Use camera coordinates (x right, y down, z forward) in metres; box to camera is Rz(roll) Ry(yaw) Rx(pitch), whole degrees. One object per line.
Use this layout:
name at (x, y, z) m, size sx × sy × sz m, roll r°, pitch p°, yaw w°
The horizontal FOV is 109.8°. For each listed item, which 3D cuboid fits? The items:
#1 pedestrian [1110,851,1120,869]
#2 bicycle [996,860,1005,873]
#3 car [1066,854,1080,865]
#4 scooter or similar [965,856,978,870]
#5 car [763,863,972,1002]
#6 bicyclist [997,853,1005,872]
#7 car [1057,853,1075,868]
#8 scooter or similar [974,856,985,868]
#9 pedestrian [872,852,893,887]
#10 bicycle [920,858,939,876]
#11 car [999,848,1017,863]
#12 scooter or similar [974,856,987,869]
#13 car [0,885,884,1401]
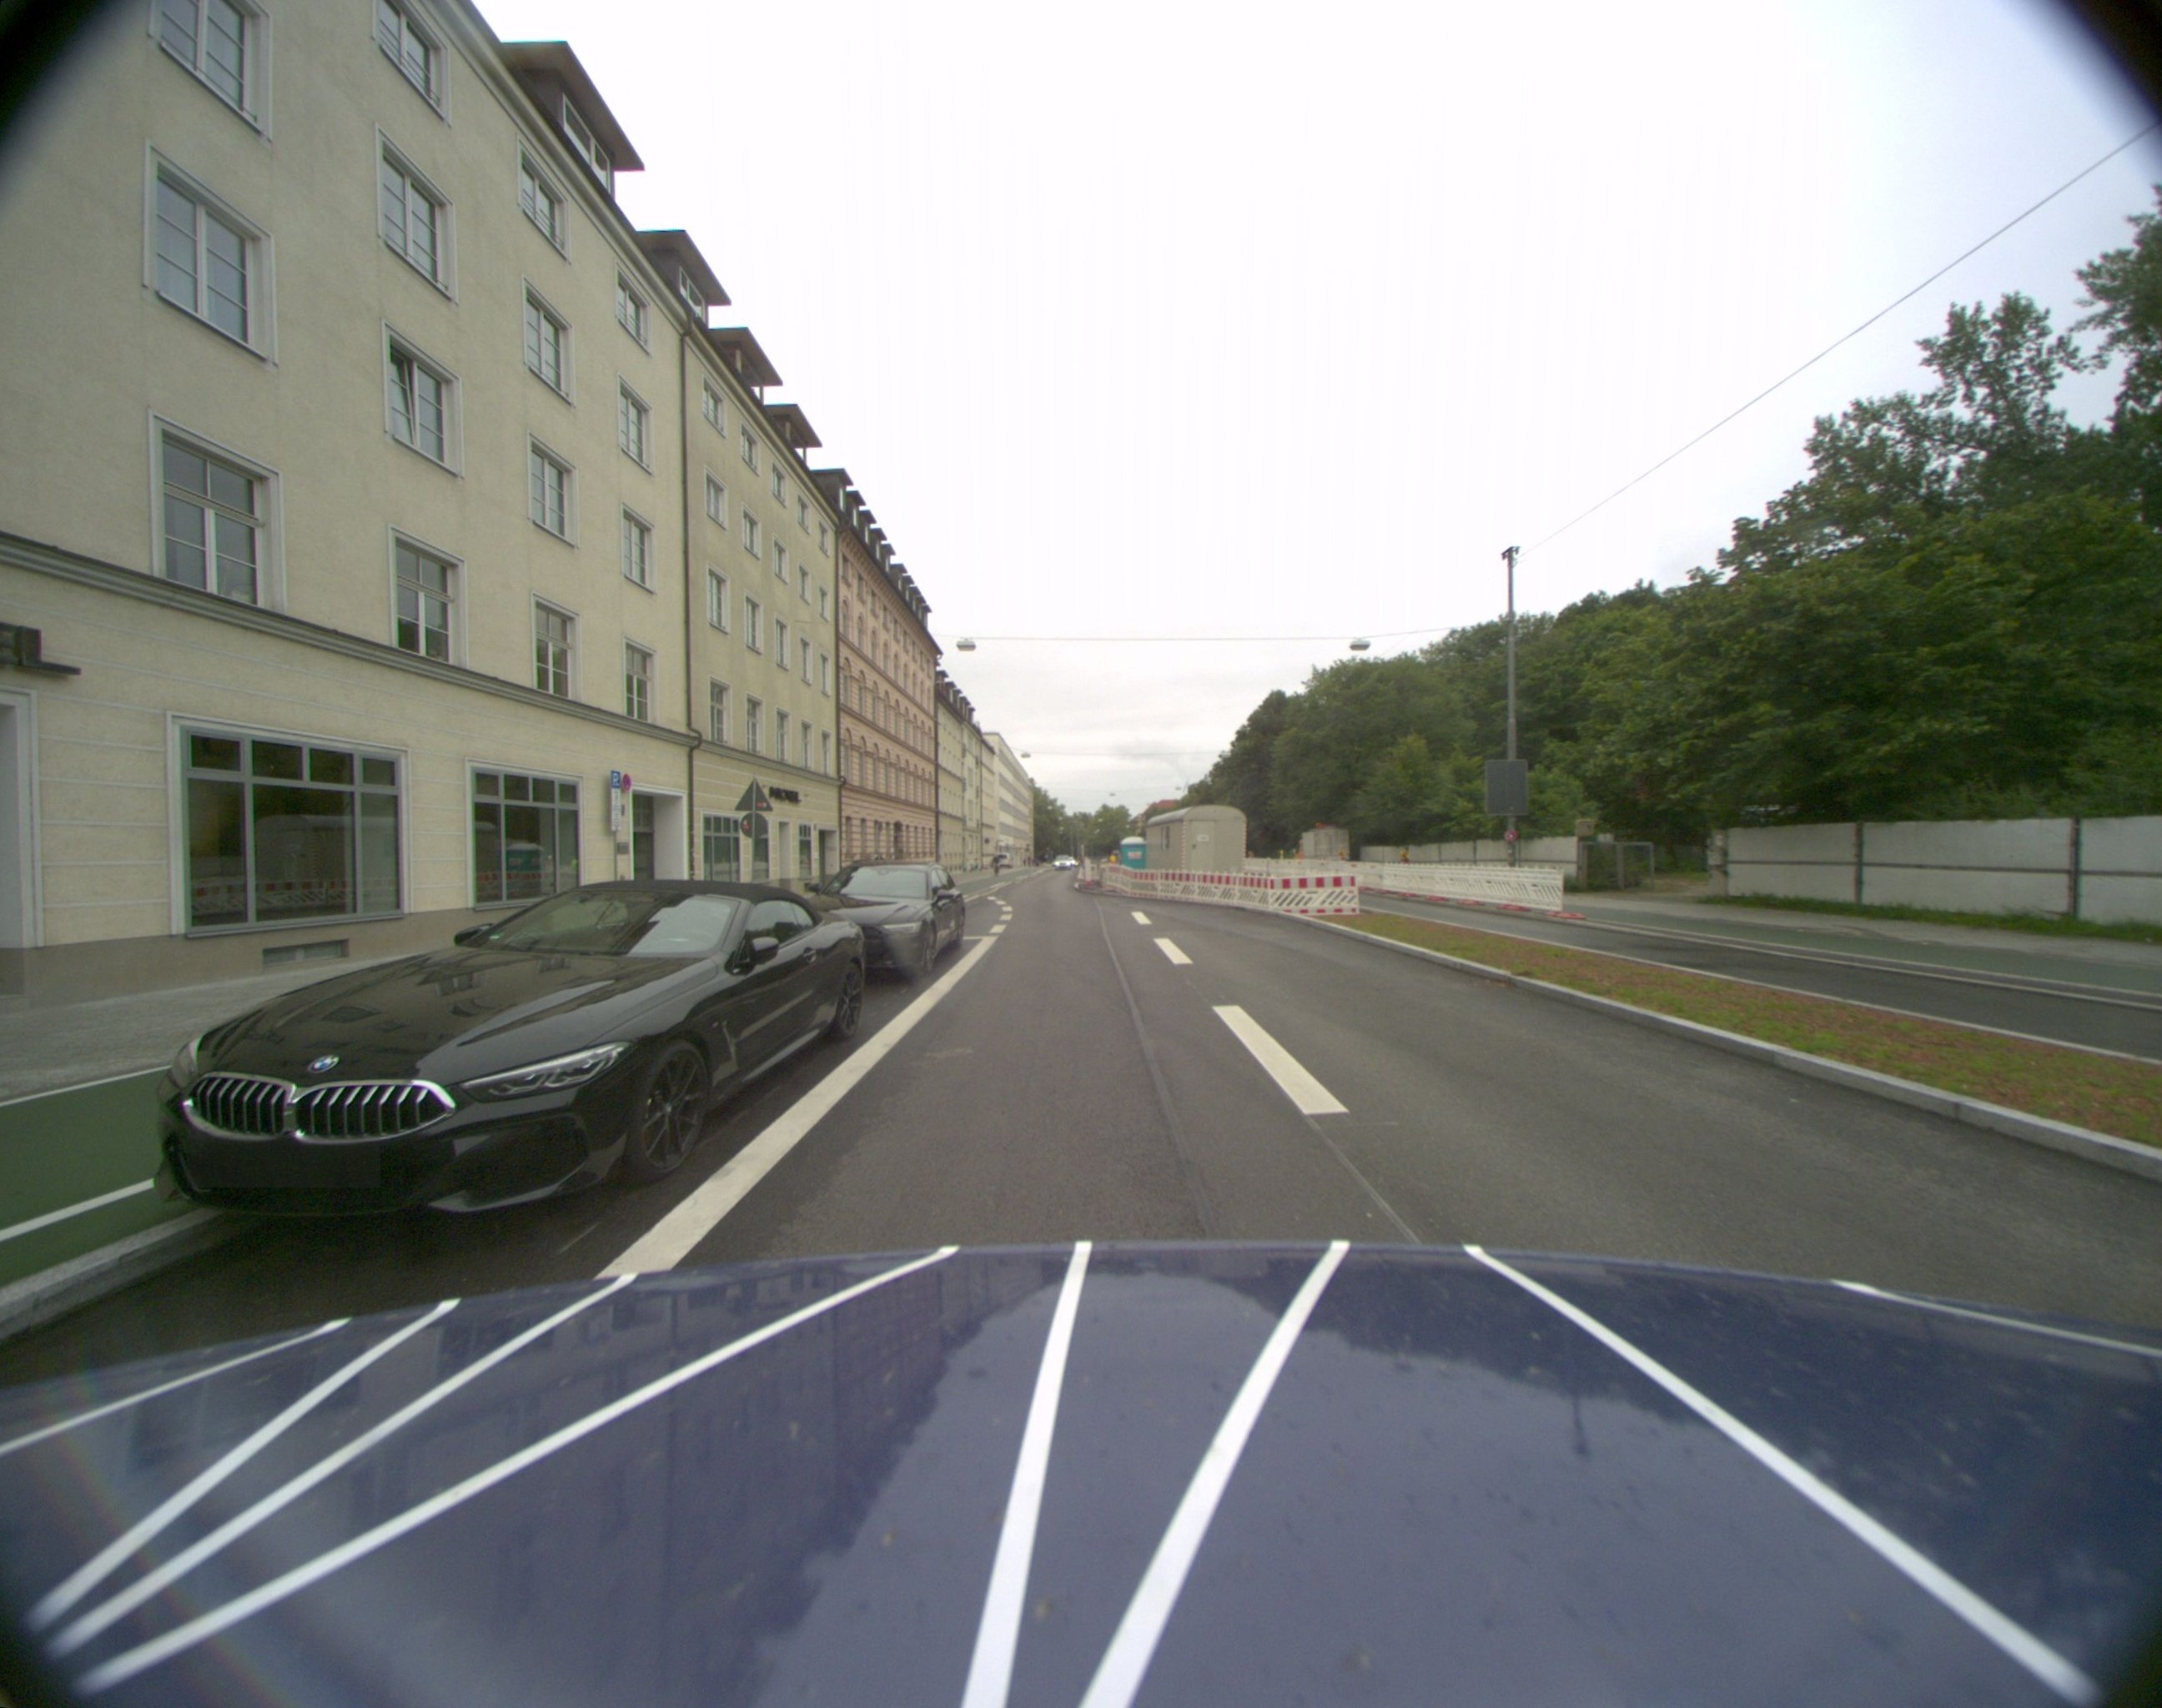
pedestrian at (3.446, 0.569, 77.014) m, size 0.861 × 1.826 × 0.874 m, roll -1°, pitch 1°, yaw -14°
bicycle at (-6.502, 0.987, 61.354) m, size 0.632 × 1.031 × 2.016 m, roll -1°, pitch 0°, yaw -6°
car at (-1.188, 0.706, 106.992) m, size 1.759 × 1.461 × 3.998 m, roll -2°, pitch 0°, yaw -4°
scooter or similar at (-10.058, 0.802, 69.729) m, size 0.552 × 1.238 × 1.079 m, roll 0°, pitch 1°, yaw 35°
car at (-2.806, 0.940, 11.089) m, size 1.813 × 1.472 × 4.461 m, roll 3°, pitch 0°, yaw -1°
bicyclist at (-6.437, 0.683, 61.374) m, size 0.632 × 1.459 × 0.652 m, roll -1°, pitch 1°, yaw -6°
car at (-1.619, 0.657, 80.991) m, size 1.759 × 1.461 × 3.999 m, roll -2°, pitch 0°, yaw -1°
scooter or similar at (-10.127, 0.831, 75.862) m, size 1.079 × 1.185 × 0.436 m, roll -1°, pitch 1°, yaw -40°
pedestrian at (-9.842, 0.751, 37.734) m, size 0.795 × 1.735 × 0.833 m, roll -1°, pitch 1°, yaw 1°
bicycle at (-10.174, 0.887, 51.111) m, size 0.556 × 1.170 × 1.727 m, roll 0°, pitch 0°, yaw 15°
car at (-8.861, 0.190, 92.310) m, size 1.766 × 1.821 × 3.999 m, roll -1°, pitch 0°, yaw 0°
scooter or similar at (-9.862, 0.819, 74.526) m, size 1.078 × 1.185 × 0.453 m, roll -1°, pitch 1°, yaw -29°
car at (-2.853, 1.027, 4.775) m, size 1.830 × 1.399 × 4.720 m, roll -2°, pitch 0°, yaw 2°
